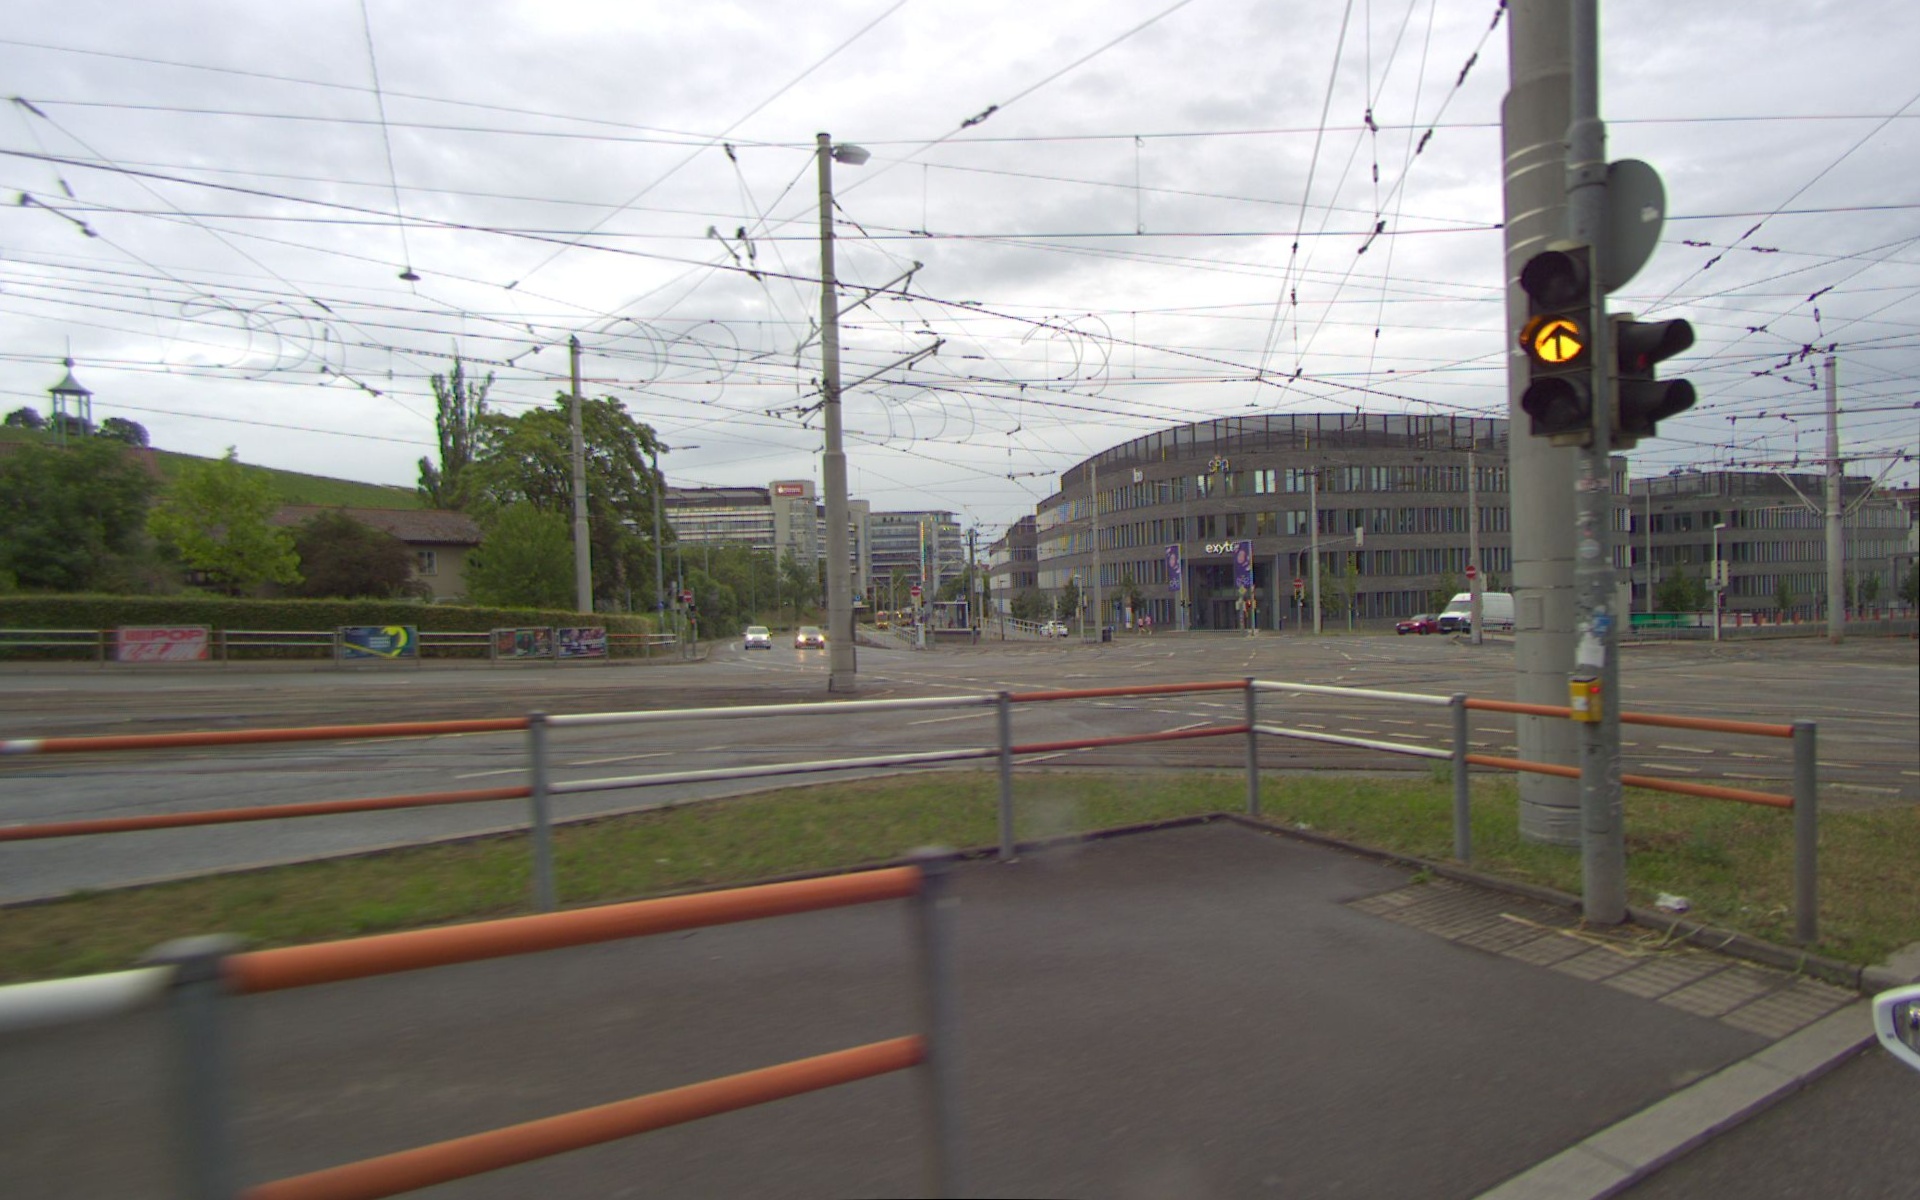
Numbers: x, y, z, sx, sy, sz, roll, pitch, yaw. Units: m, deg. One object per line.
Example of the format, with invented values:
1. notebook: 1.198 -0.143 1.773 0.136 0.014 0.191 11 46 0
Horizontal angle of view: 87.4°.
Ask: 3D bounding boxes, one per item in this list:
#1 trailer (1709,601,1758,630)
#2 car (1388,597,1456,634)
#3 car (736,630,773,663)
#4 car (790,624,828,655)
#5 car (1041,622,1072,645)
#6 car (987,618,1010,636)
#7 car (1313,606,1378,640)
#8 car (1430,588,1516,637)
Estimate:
1. trailer: 61.827 1.250 80.280 4.228 2.101 1.815 3 -2 -32
2. car: 29.767 1.032 64.720 4.200 2.181 1.984 3 -3 -31
3. car: -13.446 3.008 65.475 1.968 2.040 3.986 2 -2 -17
4. car: -10.176 2.631 67.369 1.968 2.040 3.986 1 -2 -17
5. car: 8.683 3.038 90.988 1.963 2.040 3.996 2 -2 -7
6. car: 4.312 3.050 113.044 1.963 1.839 3.996 2 -2 -7
7. car: 26.250 1.580 68.428 4.200 2.181 1.984 3 -3 -31
8. car: 31.581 0.770 61.757 5.652 2.869 1.984 0 -3 -31
